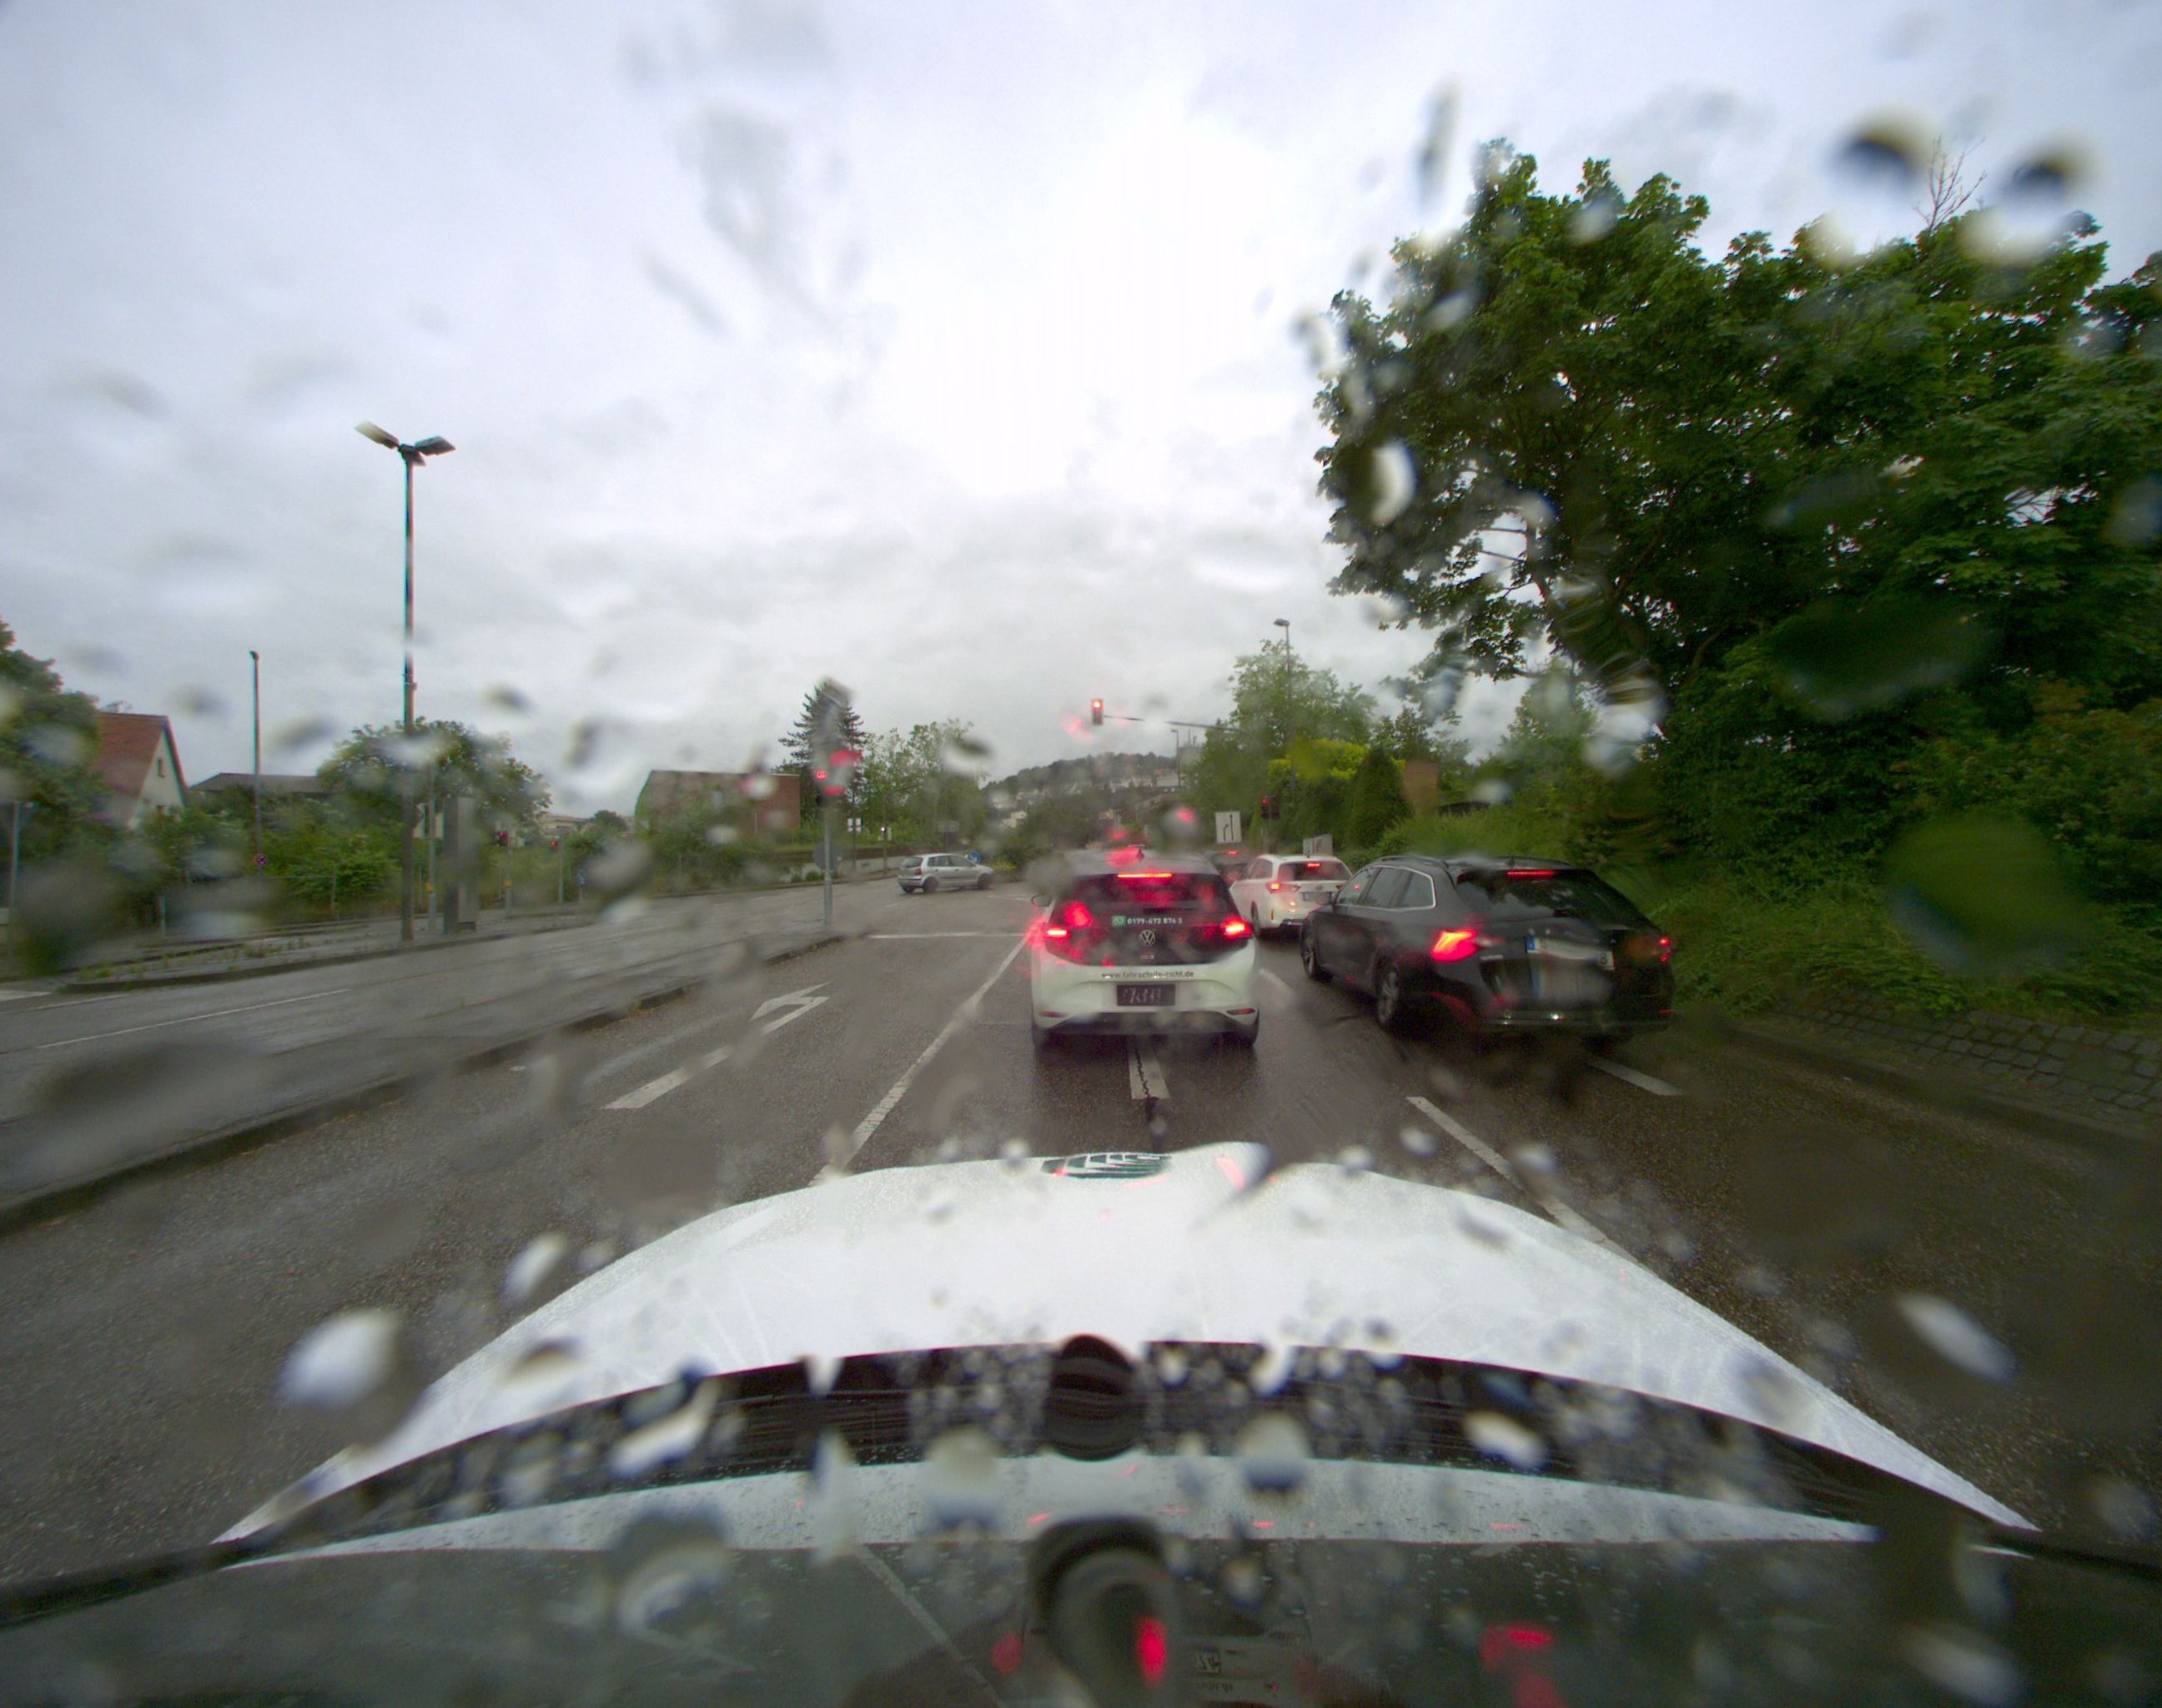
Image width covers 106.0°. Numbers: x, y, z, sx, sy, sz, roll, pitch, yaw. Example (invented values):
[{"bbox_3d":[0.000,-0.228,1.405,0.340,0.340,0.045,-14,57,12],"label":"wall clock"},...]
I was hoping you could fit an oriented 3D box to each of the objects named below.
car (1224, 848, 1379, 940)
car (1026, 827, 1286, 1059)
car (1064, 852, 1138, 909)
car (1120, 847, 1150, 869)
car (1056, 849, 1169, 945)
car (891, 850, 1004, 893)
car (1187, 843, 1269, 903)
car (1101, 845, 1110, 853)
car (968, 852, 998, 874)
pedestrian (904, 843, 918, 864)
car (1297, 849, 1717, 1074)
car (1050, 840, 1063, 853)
[{"bbox_3d":[3.878,0.619,15.023,1.831,1.466,4.118,0,0,1],"label":"car"},{"bbox_3d":[0.581,0.609,8.038,1.831,1.629,4.617,0,0,1],"label":"car"},{"bbox_3d":[0.546,0.653,22.091,1.831,1.400,3.832,0,0,1],"label":"car"},{"bbox_3d":[3.774,0.263,57.457,1.755,1.418,3.748,-3,0,0],"label":"car"},{"bbox_3d":[0.562,0.691,15.313,1.831,1.555,4.176,0,0,1],"label":"car"},{"bbox_3d":[-5.096,0.652,31.349,4.021,1.467,1.567,-2,-1,-41],"label":"car"},{"bbox_3d":[4.129,0.511,23.425,1.769,1.581,4.002,0,0,2],"label":"car"},{"bbox_3d":[4.892,-1.020,164.254,1.769,1.581,4.002,-3,0,2],"label":"car"},{"bbox_3d":[-8.939,0.765,74.334,1.986,1.804,4.002,-4,0,2],"label":"car"},{"bbox_3d":[-13.210,-0.057,63.257,0.757,1.568,0.825,-4,0,1],"label":"pedestrian"},{"bbox_3d":[3.365,0.685,7.524,1.830,1.466,4.353,0,0,3],"label":"car"},{"bbox_3d":[-4.168,-1.254,140.273,1.986,2.014,4.002,-1,-1,2],"label":"car"}]
